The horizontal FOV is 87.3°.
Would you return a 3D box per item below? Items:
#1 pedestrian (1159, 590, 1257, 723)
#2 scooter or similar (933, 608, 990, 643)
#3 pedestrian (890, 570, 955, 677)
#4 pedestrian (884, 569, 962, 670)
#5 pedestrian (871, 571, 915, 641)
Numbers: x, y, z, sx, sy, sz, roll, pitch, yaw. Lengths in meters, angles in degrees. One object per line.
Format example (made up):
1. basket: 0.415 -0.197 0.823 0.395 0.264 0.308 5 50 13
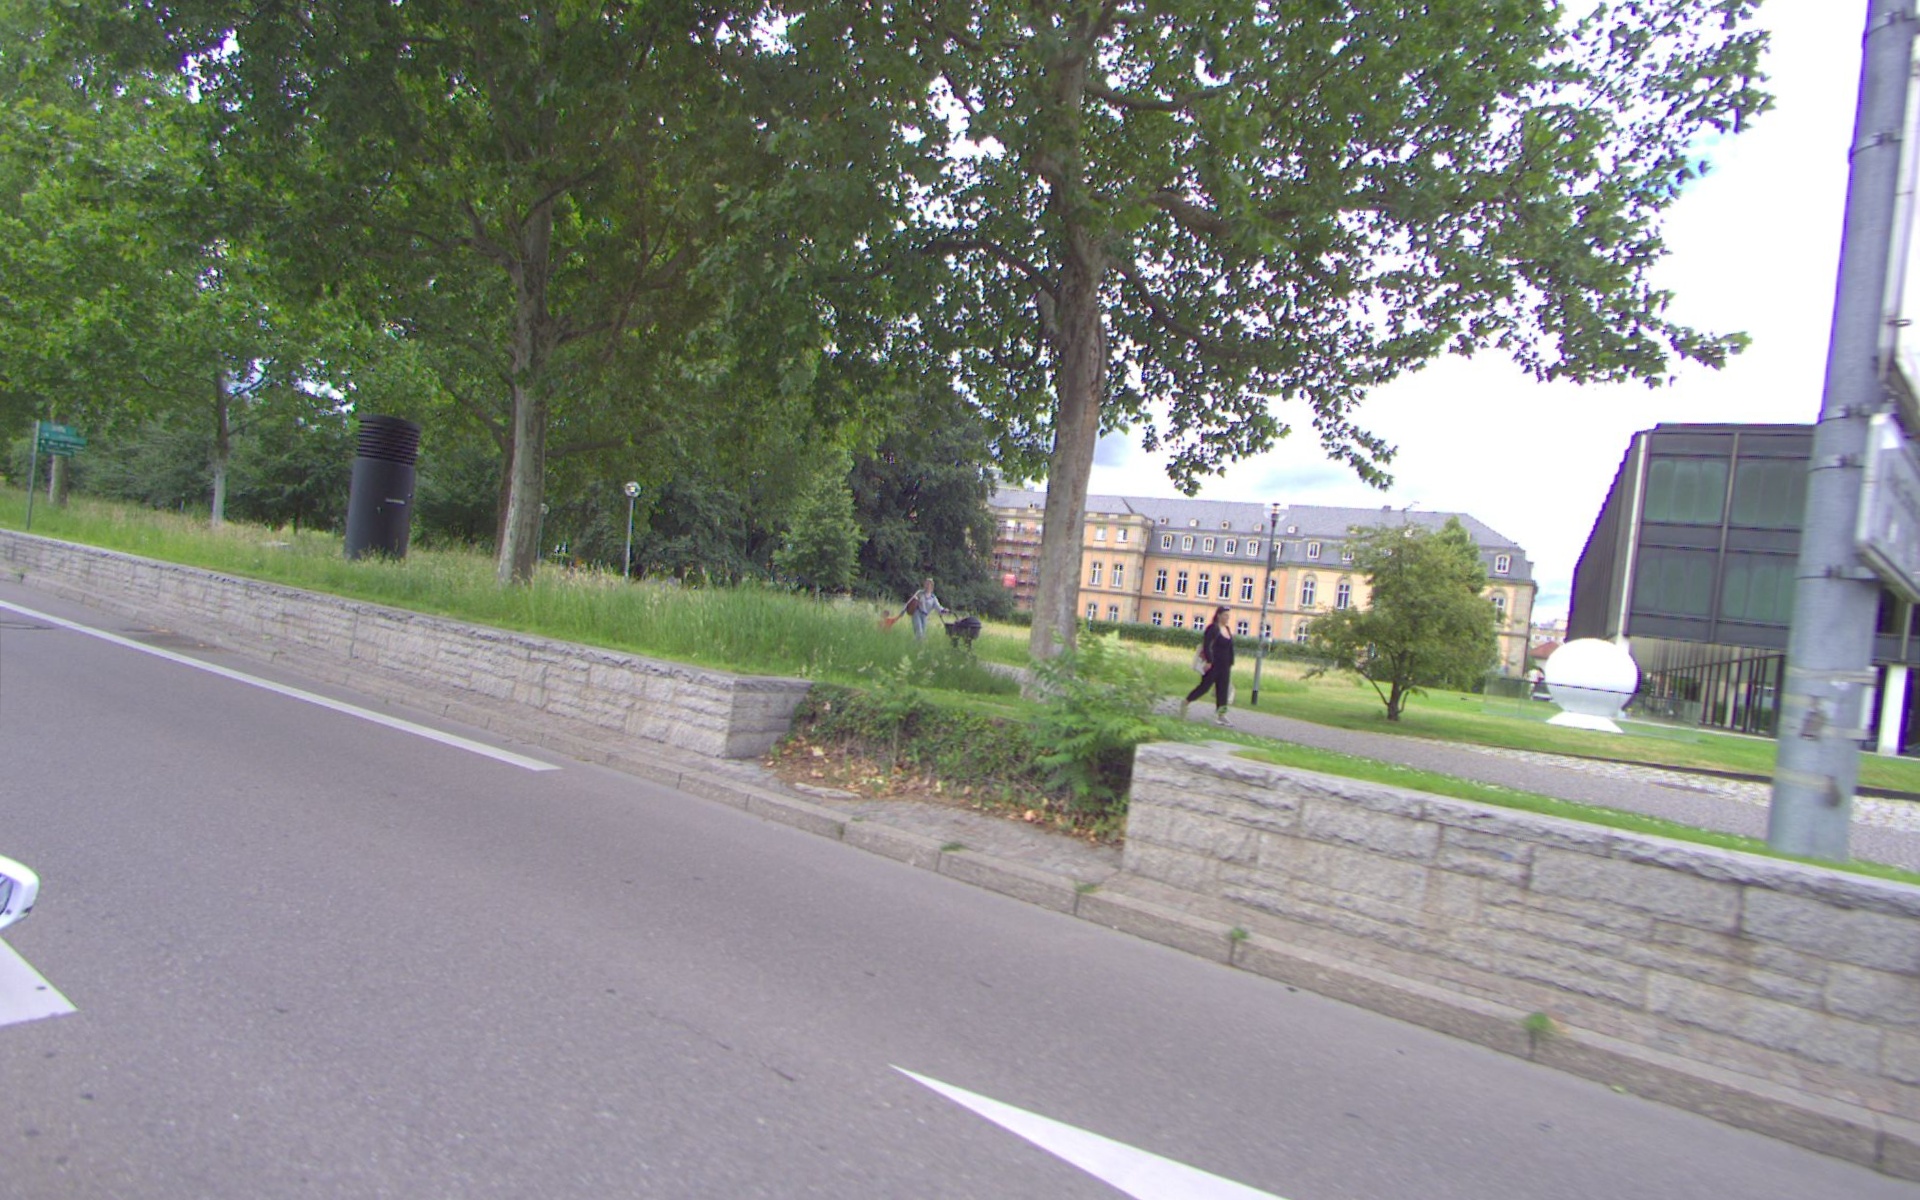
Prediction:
1. pedestrian: 3.580 0.821 14.518 0.953 1.752 0.898 7 -2 31
2. scooter or similar: 0.038 0.502 19.913 0.882 0.558 0.619 6 -4 32
3. pedestrian: -0.755 0.472 20.452 0.917 2.036 0.571 6 -3 32
4. pedestrian: -0.750 0.403 20.434 1.012 1.856 1.000 6 -3 27
5. pedestrian: -1.386 0.130 20.876 0.533 1.339 0.583 5 -3 31
